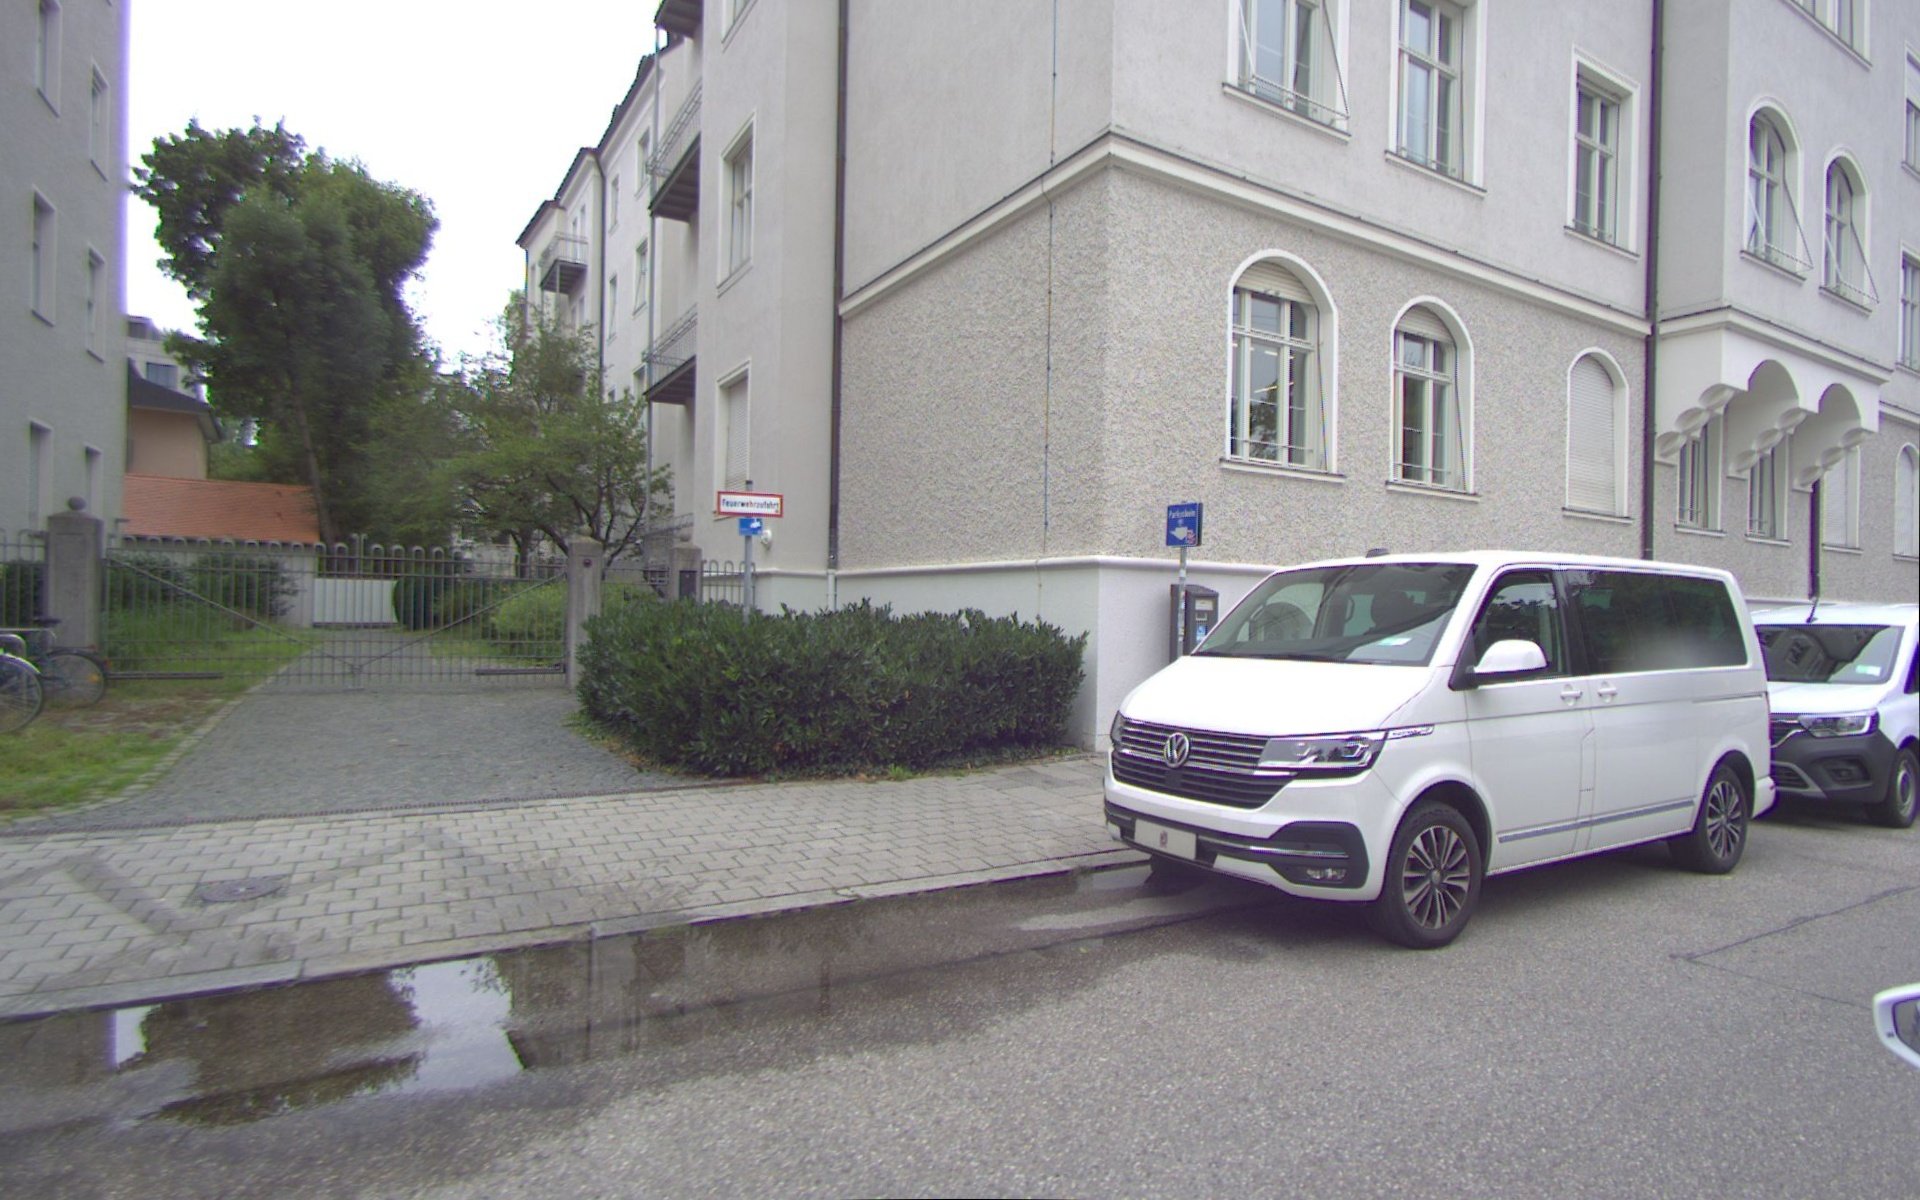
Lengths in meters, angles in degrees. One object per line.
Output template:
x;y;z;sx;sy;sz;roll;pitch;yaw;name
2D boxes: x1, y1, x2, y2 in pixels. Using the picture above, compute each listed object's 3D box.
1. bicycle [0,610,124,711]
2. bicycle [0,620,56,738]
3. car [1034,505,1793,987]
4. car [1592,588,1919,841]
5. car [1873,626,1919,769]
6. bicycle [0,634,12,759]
-9.722;0.606;10.244;1.754;0.998;0.446;2;0;-24;bicycle
-8.901;0.668;8.514;1.759;0.998;0.445;2;0;-31;bicycle
2.983;0.672;6.188;4.901;1.964;1.846;2;-2;-32;car
8.024;0.896;9.250;4.980;1.812;1.738;2;-2;-32;car
13.108;1.167;12.303;4.447;1.623;1.737;2;-2;-32;car
-8.490;0.762;7.658;1.759;0.998;0.445;2;0;-31;bicycle
